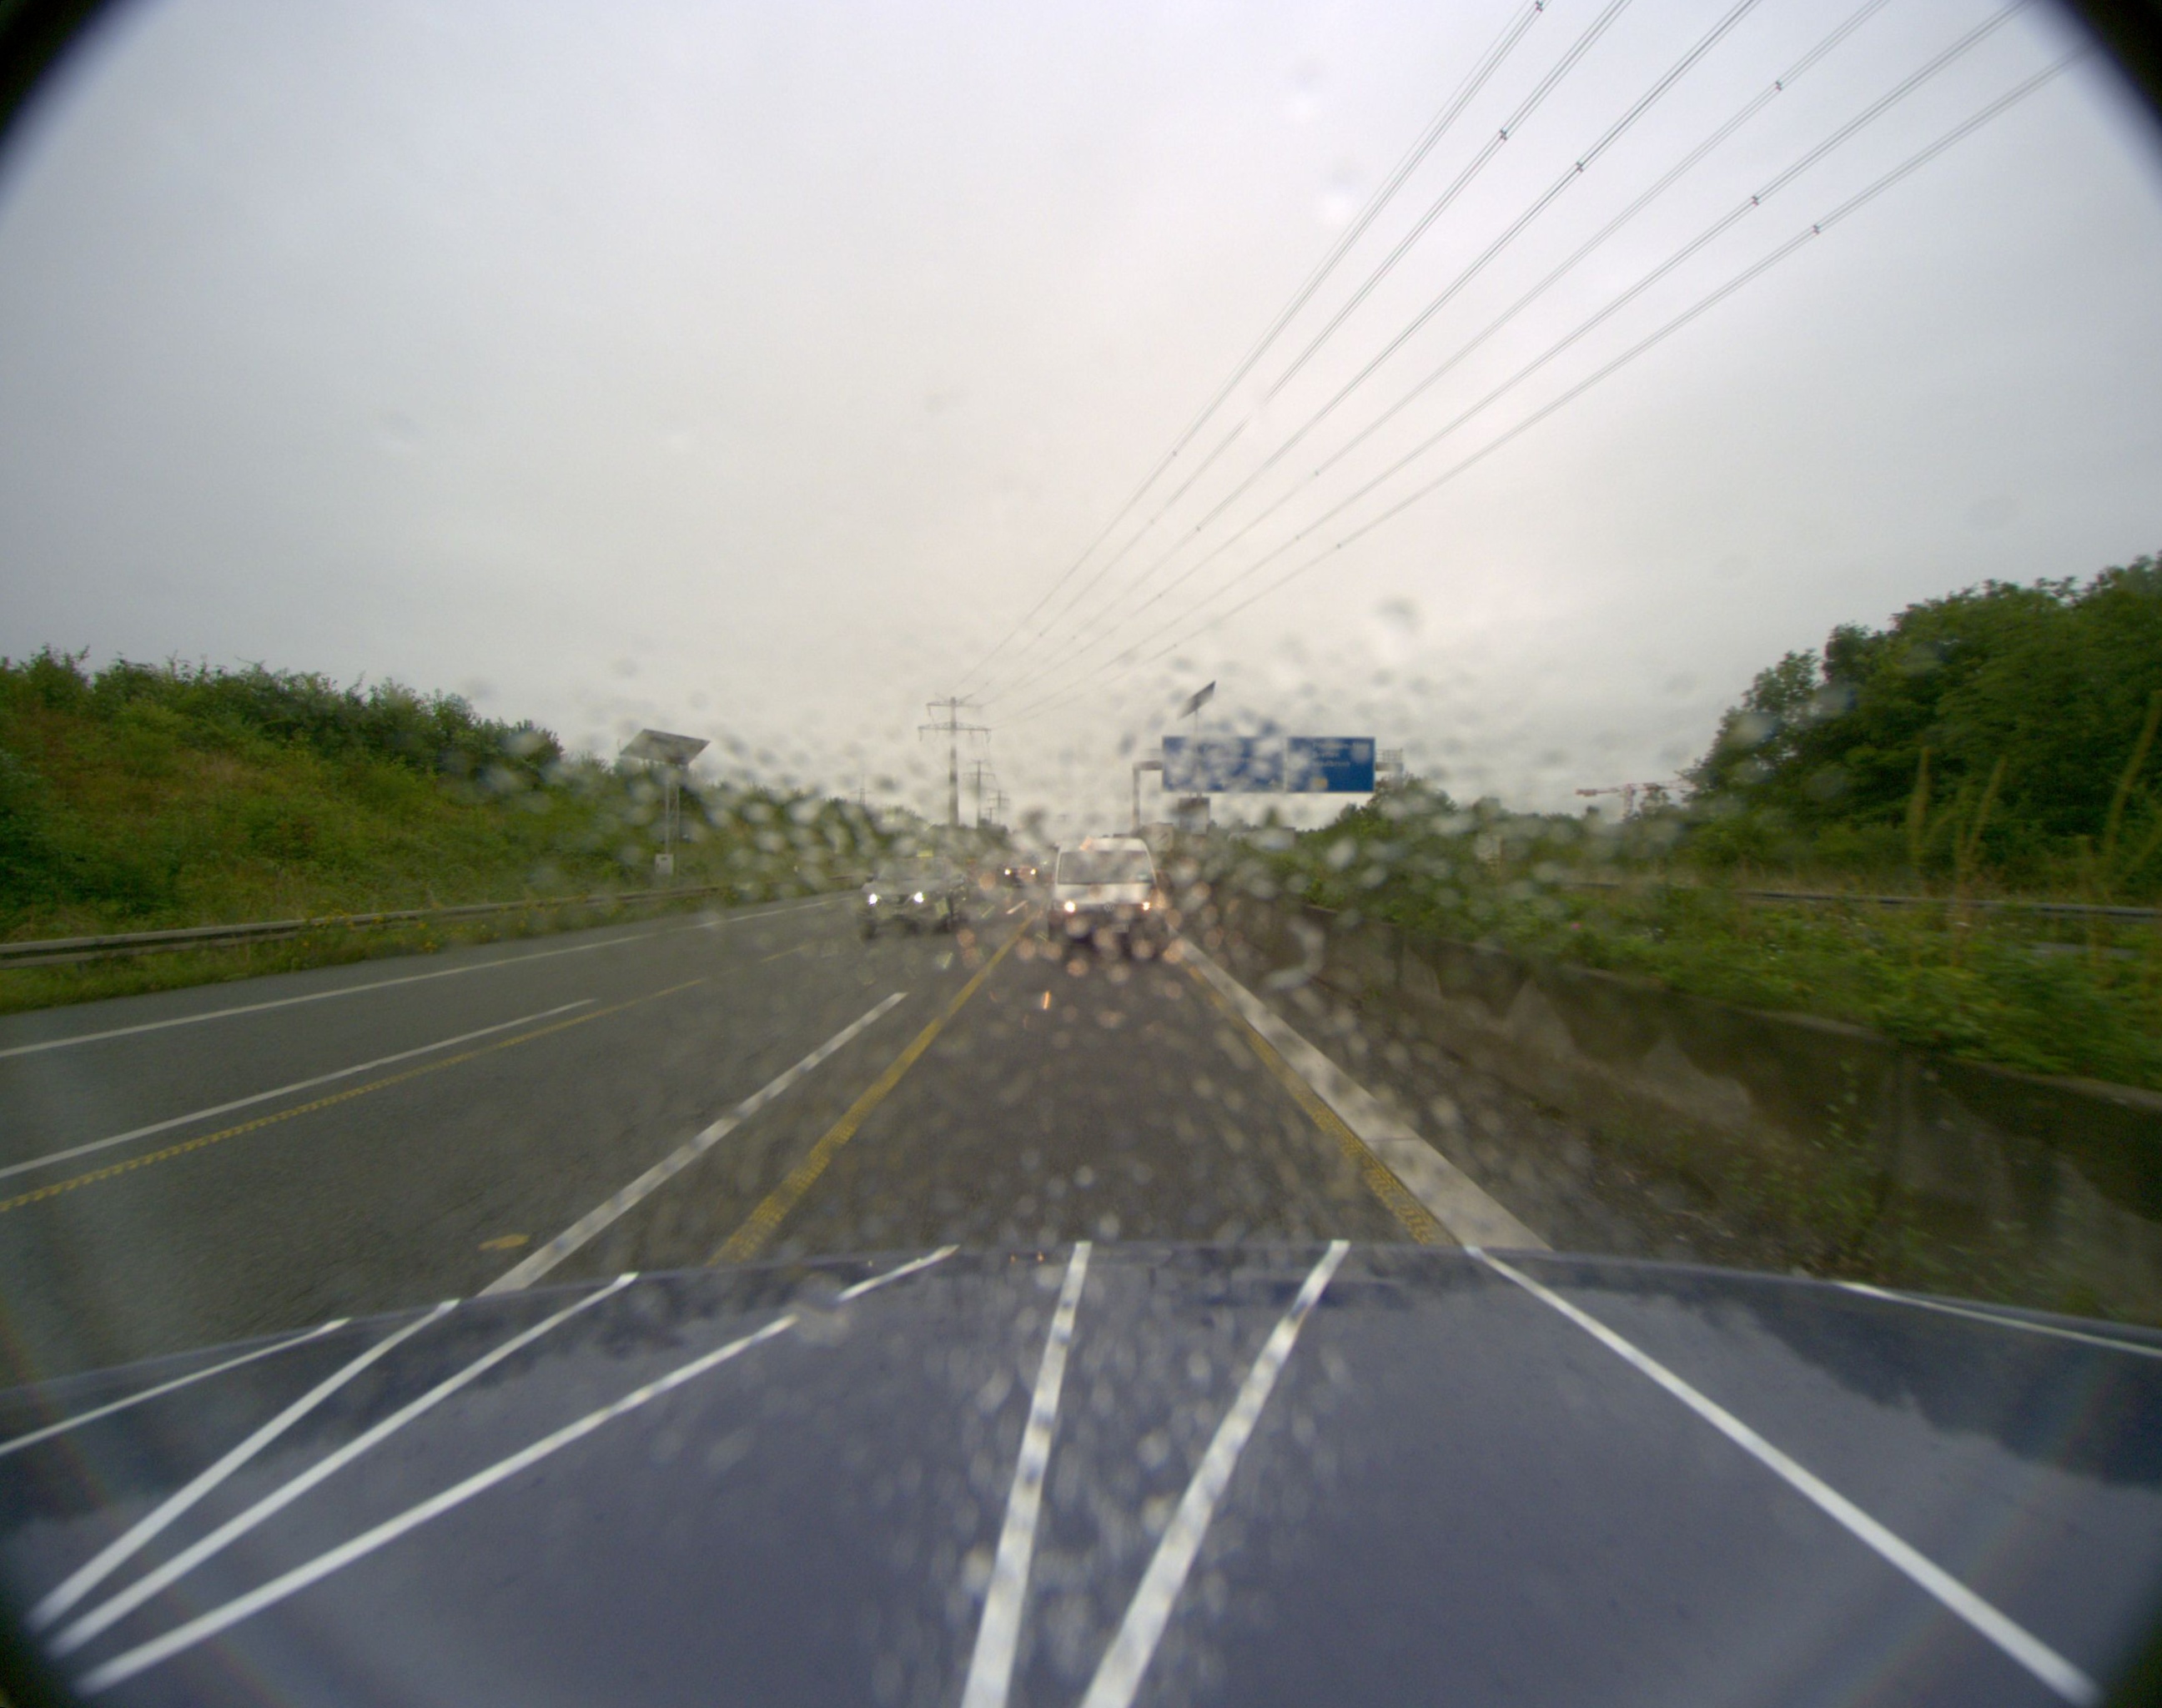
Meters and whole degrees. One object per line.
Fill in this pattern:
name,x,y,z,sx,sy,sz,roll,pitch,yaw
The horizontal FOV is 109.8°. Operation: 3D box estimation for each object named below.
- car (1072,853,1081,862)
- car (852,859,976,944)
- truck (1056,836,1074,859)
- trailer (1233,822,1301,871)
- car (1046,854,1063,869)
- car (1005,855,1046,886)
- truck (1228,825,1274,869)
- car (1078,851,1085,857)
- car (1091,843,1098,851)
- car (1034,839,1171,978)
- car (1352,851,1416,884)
car,-1.071,0.853,177.855,1.784,2.002,4.000,-1,0,1
car,-3.453,0.911,16.501,1.804,1.523,4.149,-1,0,-1
truck,-2.778,-1.171,136.362,2.875,4.007,8.308,-1,0,1
trailer,16.617,-0.642,69.116,2.793,4.000,13.249,2,0,0
car,-3.019,0.829,87.484,1.804,1.598,4.149,-1,0,-1
car,-2.761,0.812,38.628,1.804,1.432,4.149,-1,0,-1
truck,16.592,-0.689,74.706,2.793,4.000,7.232,2,0,0
car,0.054,-0.111,216.008,1.906,1.608,4.000,0,0,1
car,3.591,-1.949,197.996,1.785,2.002,3.999,-2,1,1
car,0.308,0.717,12.263,1.768,1.803,4.345,-1,0,0
car,16.720,0.701,42.189,1.998,1.738,4.000,0,0,1
